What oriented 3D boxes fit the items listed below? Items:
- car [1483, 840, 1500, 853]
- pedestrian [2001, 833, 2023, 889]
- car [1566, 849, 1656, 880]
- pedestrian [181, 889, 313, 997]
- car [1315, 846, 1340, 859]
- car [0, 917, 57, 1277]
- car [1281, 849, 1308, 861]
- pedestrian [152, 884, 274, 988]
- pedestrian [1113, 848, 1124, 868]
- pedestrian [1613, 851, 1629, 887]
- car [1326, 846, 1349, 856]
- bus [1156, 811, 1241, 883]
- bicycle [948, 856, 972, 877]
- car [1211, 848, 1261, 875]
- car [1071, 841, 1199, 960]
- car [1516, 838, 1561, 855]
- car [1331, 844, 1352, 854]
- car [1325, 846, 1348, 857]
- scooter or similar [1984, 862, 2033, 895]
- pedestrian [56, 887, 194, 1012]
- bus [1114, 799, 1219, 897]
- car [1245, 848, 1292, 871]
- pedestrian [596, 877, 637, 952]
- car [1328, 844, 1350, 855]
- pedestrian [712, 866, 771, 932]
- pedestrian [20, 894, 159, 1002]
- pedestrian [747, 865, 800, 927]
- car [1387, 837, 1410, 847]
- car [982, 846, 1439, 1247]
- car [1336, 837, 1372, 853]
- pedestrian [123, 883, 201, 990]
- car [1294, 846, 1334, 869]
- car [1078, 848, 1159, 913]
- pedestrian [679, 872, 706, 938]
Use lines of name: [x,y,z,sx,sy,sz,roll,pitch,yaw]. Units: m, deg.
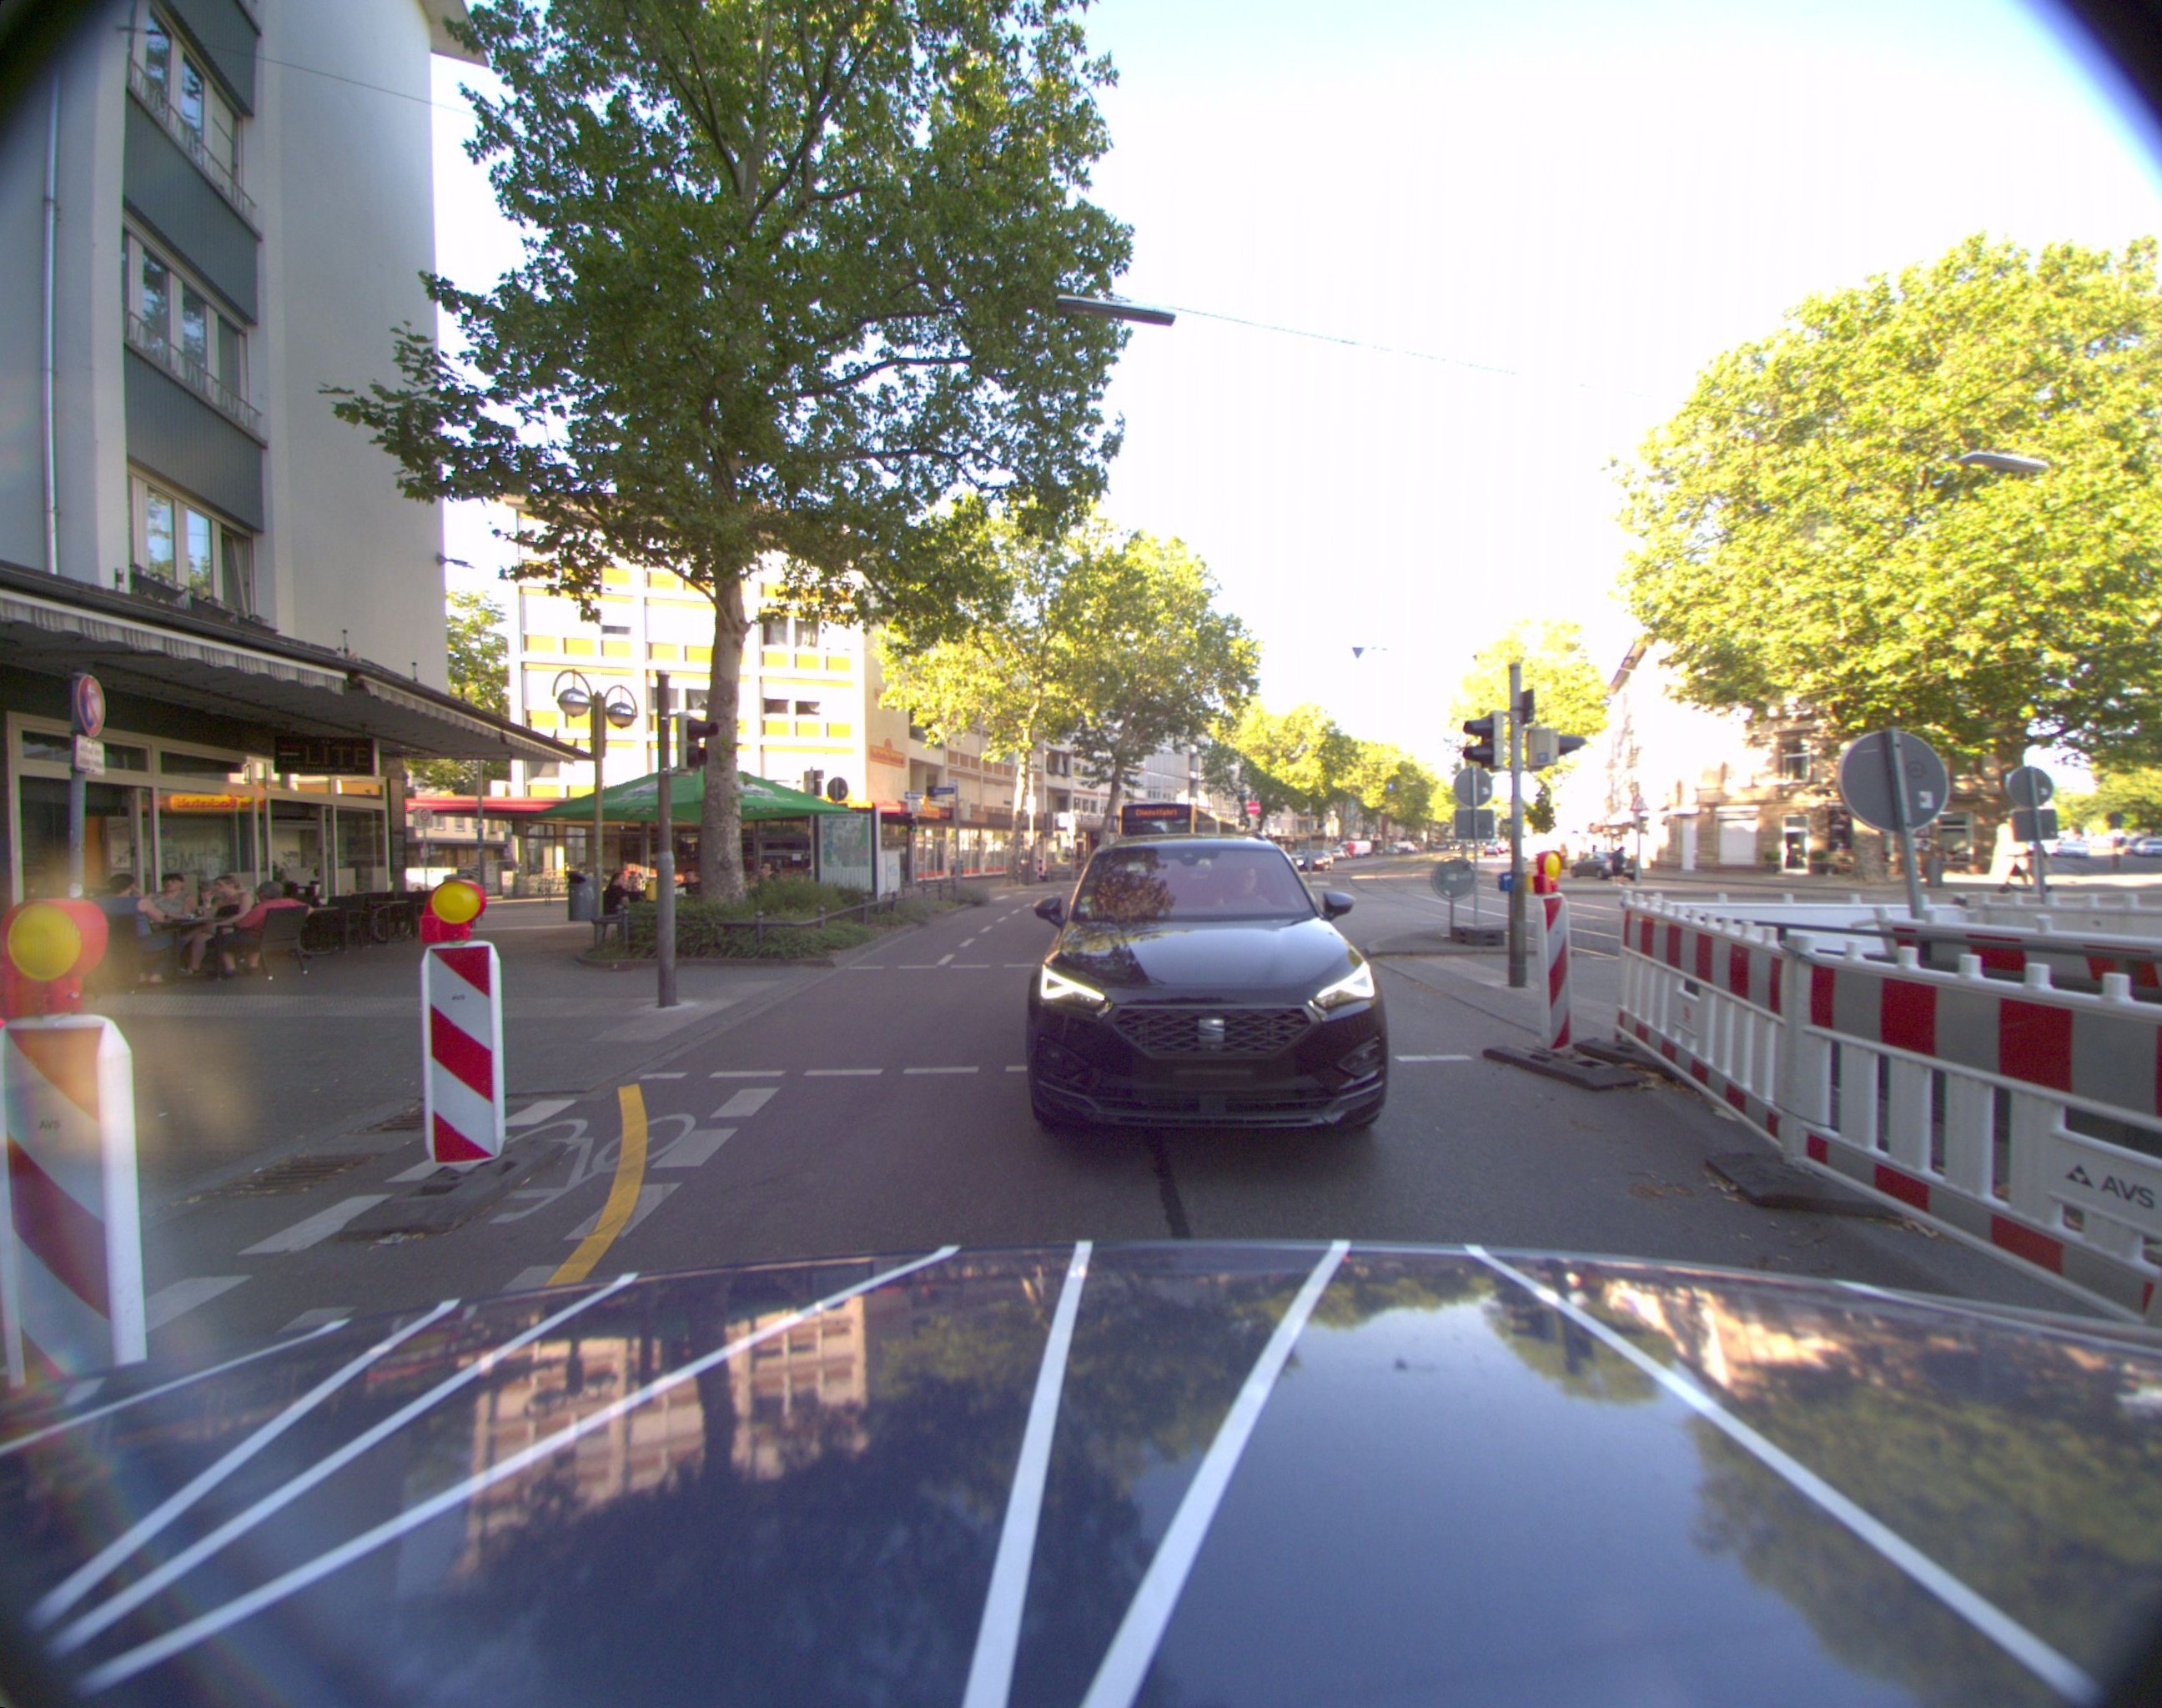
car: [59.304,-1.057,109.799,1.994,1.856,4.007,0,1,31]
pedestrian: [29.903,0.216,24.405,0.355,1.757,0.418,-2,1,-41]
car: [25.946,0.478,37.374,1.883,1.401,4.001,-1,1,4]
pedestrian: [-9.850,1.019,9.008,0.847,1.191,0.649,1,0,-22]
car: [29.783,-0.179,91.864,2.627,1.464,1.201,-1,2,3]
car: [-5.151,0.993,1.434,1.623,1.457,3.604,2,0,-2]
car: [23.915,0.130,85.033,2.629,1.209,1.200,-1,2,-6]
pedestrian: [-10.695,0.986,9.388,0.666,1.211,0.717,0,0,-5]
pedestrian: [3.115,0.316,62.802,0.658,1.632,0.660,0,1,26]
pedestrian: [20.162,0.557,28.360,0.365,1.301,0.402,0,1,18]
car: [34.047,-0.416,100.950,2.627,1.274,1.201,-1,2,3]
bus: [6.059,-0.342,37.738,2.749,3.085,9.508,0,1,17]
bicycle: [-6.674,0.692,42.041,0.528,1.136,1.976,-1,1,15]
car: [9.495,0.448,46.293,1.908,1.467,4.425,0,2,26]
car: [0.966,0.641,12.795,1.743,1.630,4.300,-2,0,6]
car: [52.202,-0.853,86.710,3.999,1.904,1.998,-1,1,-7]
car: [36.704,-0.652,107.130,2.627,1.338,1.201,-1,2,3]
car: [32.897,-0.329,97.849,2.627,1.274,1.201,-1,2,3]
scooter or similar: [29.724,0.765,24.356,0.309,1.033,0.979,-2,1,-40]
pedestrian: [-10.223,0.984,8.157,0.651,1.244,0.716,0,0,-24]
bus: [3.523,-0.230,28.624,2.750,3.085,9.506,0,1,14]
car: [13.648,0.375,55.042,1.952,1.541,4.765,0,2,31]
pedestrian: [-7.837,1.012,12.813,0.469,1.212,0.431,-2,1,-44]
car: [35.453,-0.607,104.233,2.627,1.380,1.201,-1,2,3]
pedestrian: [-6.812,0.887,15.269,0.718,1.278,0.769,-1,1,14]
pedestrian: [-11.089,1.026,8.532,0.718,1.123,0.649,1,0,-24]
pedestrian: [-6.545,0.884,16.193,0.718,1.278,0.769,-1,1,13]
car: [64.307,-2.506,153.881,4.000,2.002,1.879,-1,1,-8]
car: [0.682,0.803,5.320,1.848,1.648,4.300,-2,0,4]
car: [40.626,-1.335,113.128,4.868,2.362,1.878,-1,2,-10]
pedestrian: [-11.246,0.986,9.300,0.519,1.236,0.553,0,0,34]
car: [16.412,0.193,53.396,1.952,1.467,4.764,0,2,26]
car: [1.098,0.622,20.159,1.743,1.492,4.301,-2,0,7]
pedestrian: [-7.415,0.960,14.492,0.433,1.212,0.467,0,1,-29]
